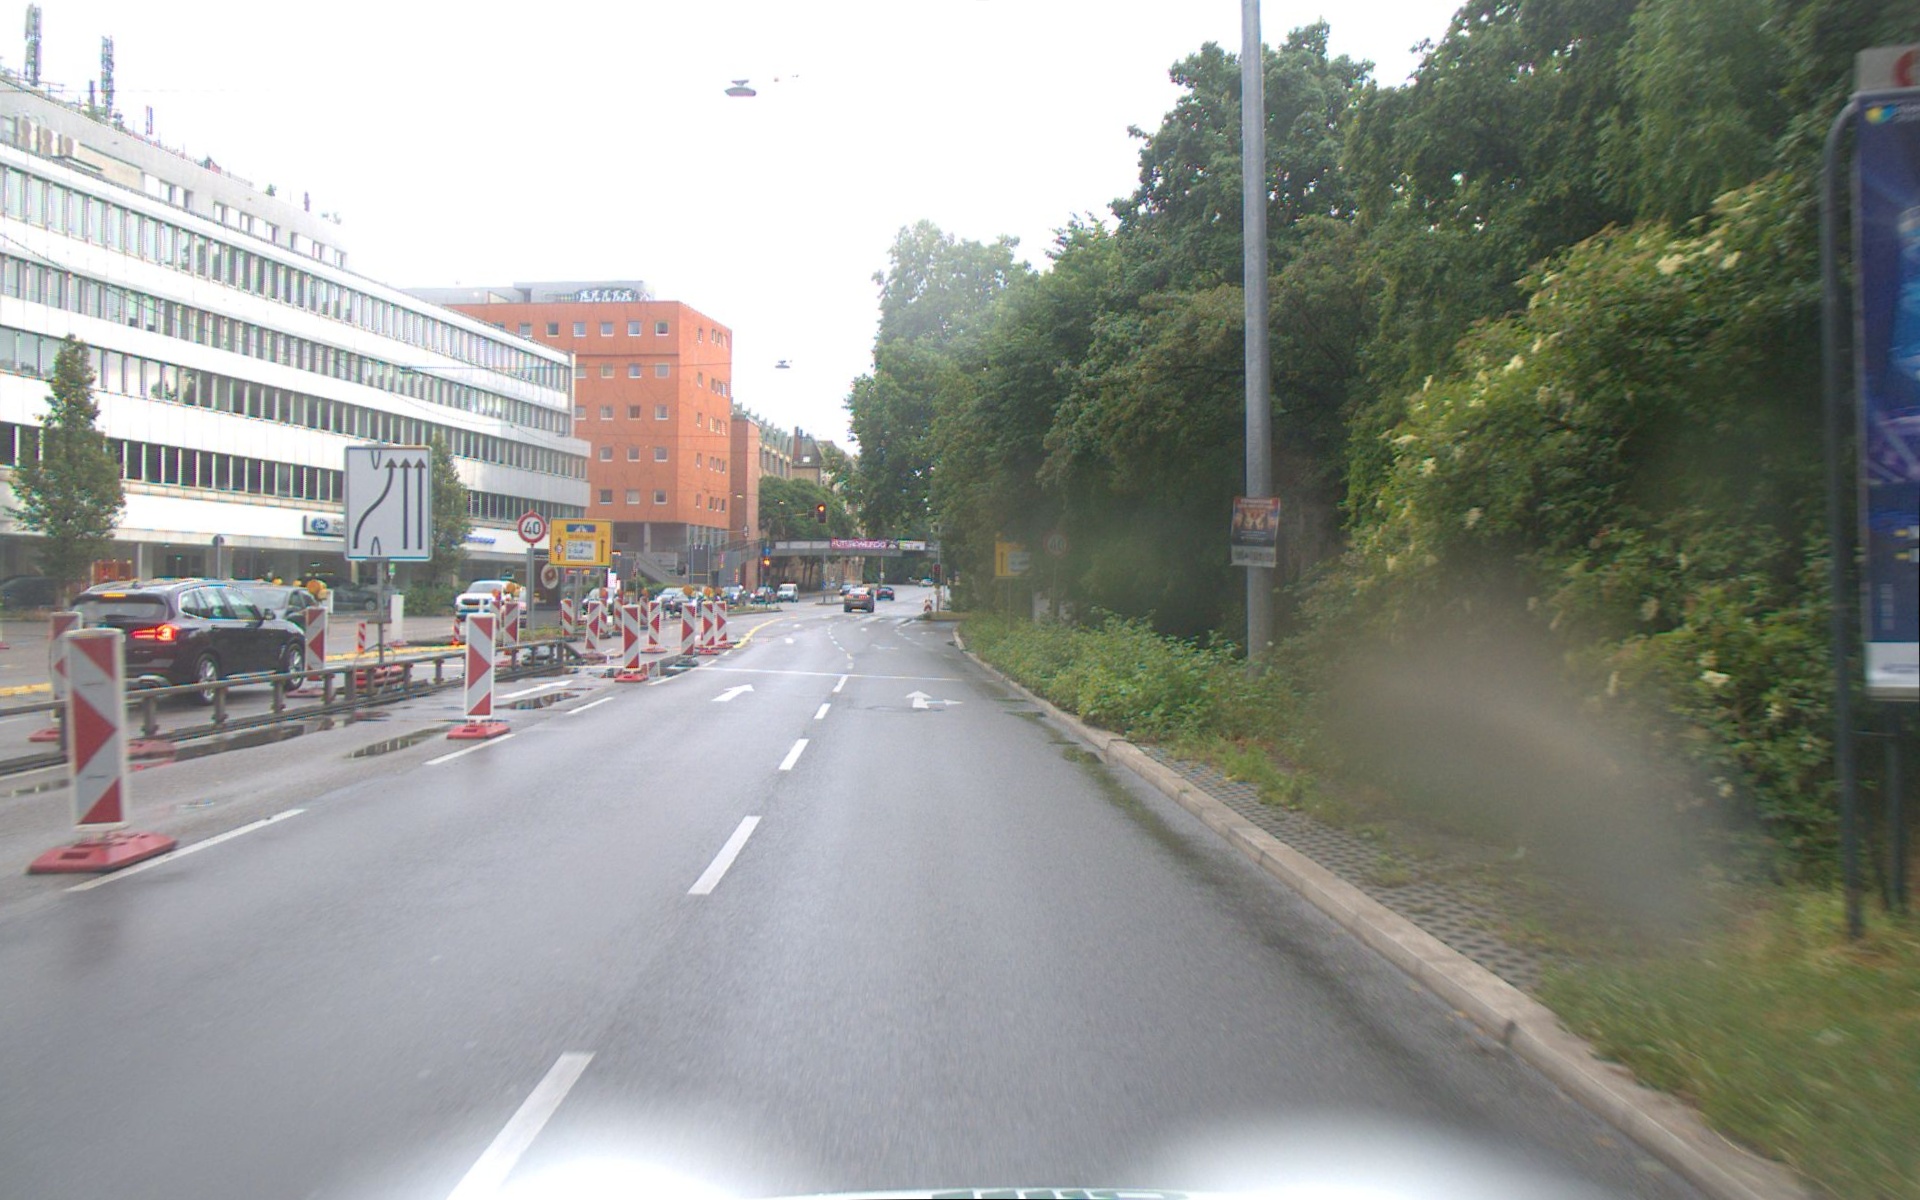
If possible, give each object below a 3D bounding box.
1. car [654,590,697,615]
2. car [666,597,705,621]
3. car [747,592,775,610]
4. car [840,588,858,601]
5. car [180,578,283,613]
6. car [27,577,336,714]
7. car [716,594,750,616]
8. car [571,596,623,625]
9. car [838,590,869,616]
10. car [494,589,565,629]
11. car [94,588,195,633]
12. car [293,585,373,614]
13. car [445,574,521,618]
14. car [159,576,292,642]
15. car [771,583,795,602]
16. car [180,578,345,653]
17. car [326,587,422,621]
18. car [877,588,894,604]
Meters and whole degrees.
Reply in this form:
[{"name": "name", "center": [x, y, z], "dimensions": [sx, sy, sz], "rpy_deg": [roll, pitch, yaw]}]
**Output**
[{"name": "car", "center": [-18.855, 0.183, 109.856], "dimensions": [1.770, 1.585, 4.303], "rpy_deg": [1, 0, 5]}, {"name": "car", "center": [-16.425, 0.537, 99.131], "dimensions": [1.654, 1.378, 4.115], "rpy_deg": [0, 0, 0]}, {"name": "car", "center": [-17.663, 0.110, 147.084], "dimensions": [1.791, 1.528, 4.374], "rpy_deg": [0, 0, 1]}, {"name": "car", "center": [-14.110, -0.694, 210.372], "dimensions": [1.952, 1.545, 4.000], "rpy_deg": [1, 0, 1]}, {"name": "car", "center": [-35.330, -0.221, 80.236], "dimensions": [4.337, 1.680, 1.831], "rpy_deg": [-1, 0, -36]}, {"name": "car", "center": [-10.793, 0.543, 23.373], "dimensions": [1.907, 1.625, 4.672], "rpy_deg": [3, 1, 3]}, {"name": "car", "center": [-18.305, 0.376, 133.451], "dimensions": [1.806, 1.768, 4.607], "rpy_deg": [0, 0, 4]}, {"name": "car", "center": [-20.025, 0.589, 91.333], "dimensions": [1.715, 1.540, 4.002], "rpy_deg": [0, -1, 4]}, {"name": "car", "center": [-7.870, 0.194, 122.787], "dimensions": [2.078, 1.765, 4.197], "rpy_deg": [3, 1, -2]}, {"name": "car", "center": [-16.313, 0.323, 62.886], "dimensions": [1.701, 1.428, 4.287], "rpy_deg": [1, 0, -2]}, {"name": "car", "center": [-29.559, 0.364, 60.078], "dimensions": [1.618, 1.562, 3.757], "rpy_deg": [-1, 0, 4]}, {"name": "car", "center": [-34.742, -0.036, 91.707], "dimensions": [3.942, 1.601, 1.981], "rpy_deg": [-1, 0, -29]}, {"name": "car", "center": [-19.907, -0.168, 69.238], "dimensions": [1.940, 1.737, 4.829], "rpy_deg": [0, 0, -3]}, {"name": "car", "center": [-18.521, 0.207, 41.910], "dimensions": [1.676, 1.563, 4.076], "rpy_deg": [0, 0, -2]}, {"name": "car", "center": [-17.227, -0.701, 161.138], "dimensions": [1.698, 1.817, 4.302], "rpy_deg": [0, 0, 1]}, {"name": "car", "center": [-15.267, 0.307, 36.445], "dimensions": [1.919, 1.547, 4.298], "rpy_deg": [0, 0, -2]}, {"name": "car", "center": [-34.324, 0.202, 96.987], "dimensions": [4.948, 1.930, 1.968], "rpy_deg": [-1, 0, -43]}, {"name": "car", "center": [-8.207, -0.456, 182.161], "dimensions": [1.727, 1.726, 3.705], "rpy_deg": [0, 0, 0]}]
